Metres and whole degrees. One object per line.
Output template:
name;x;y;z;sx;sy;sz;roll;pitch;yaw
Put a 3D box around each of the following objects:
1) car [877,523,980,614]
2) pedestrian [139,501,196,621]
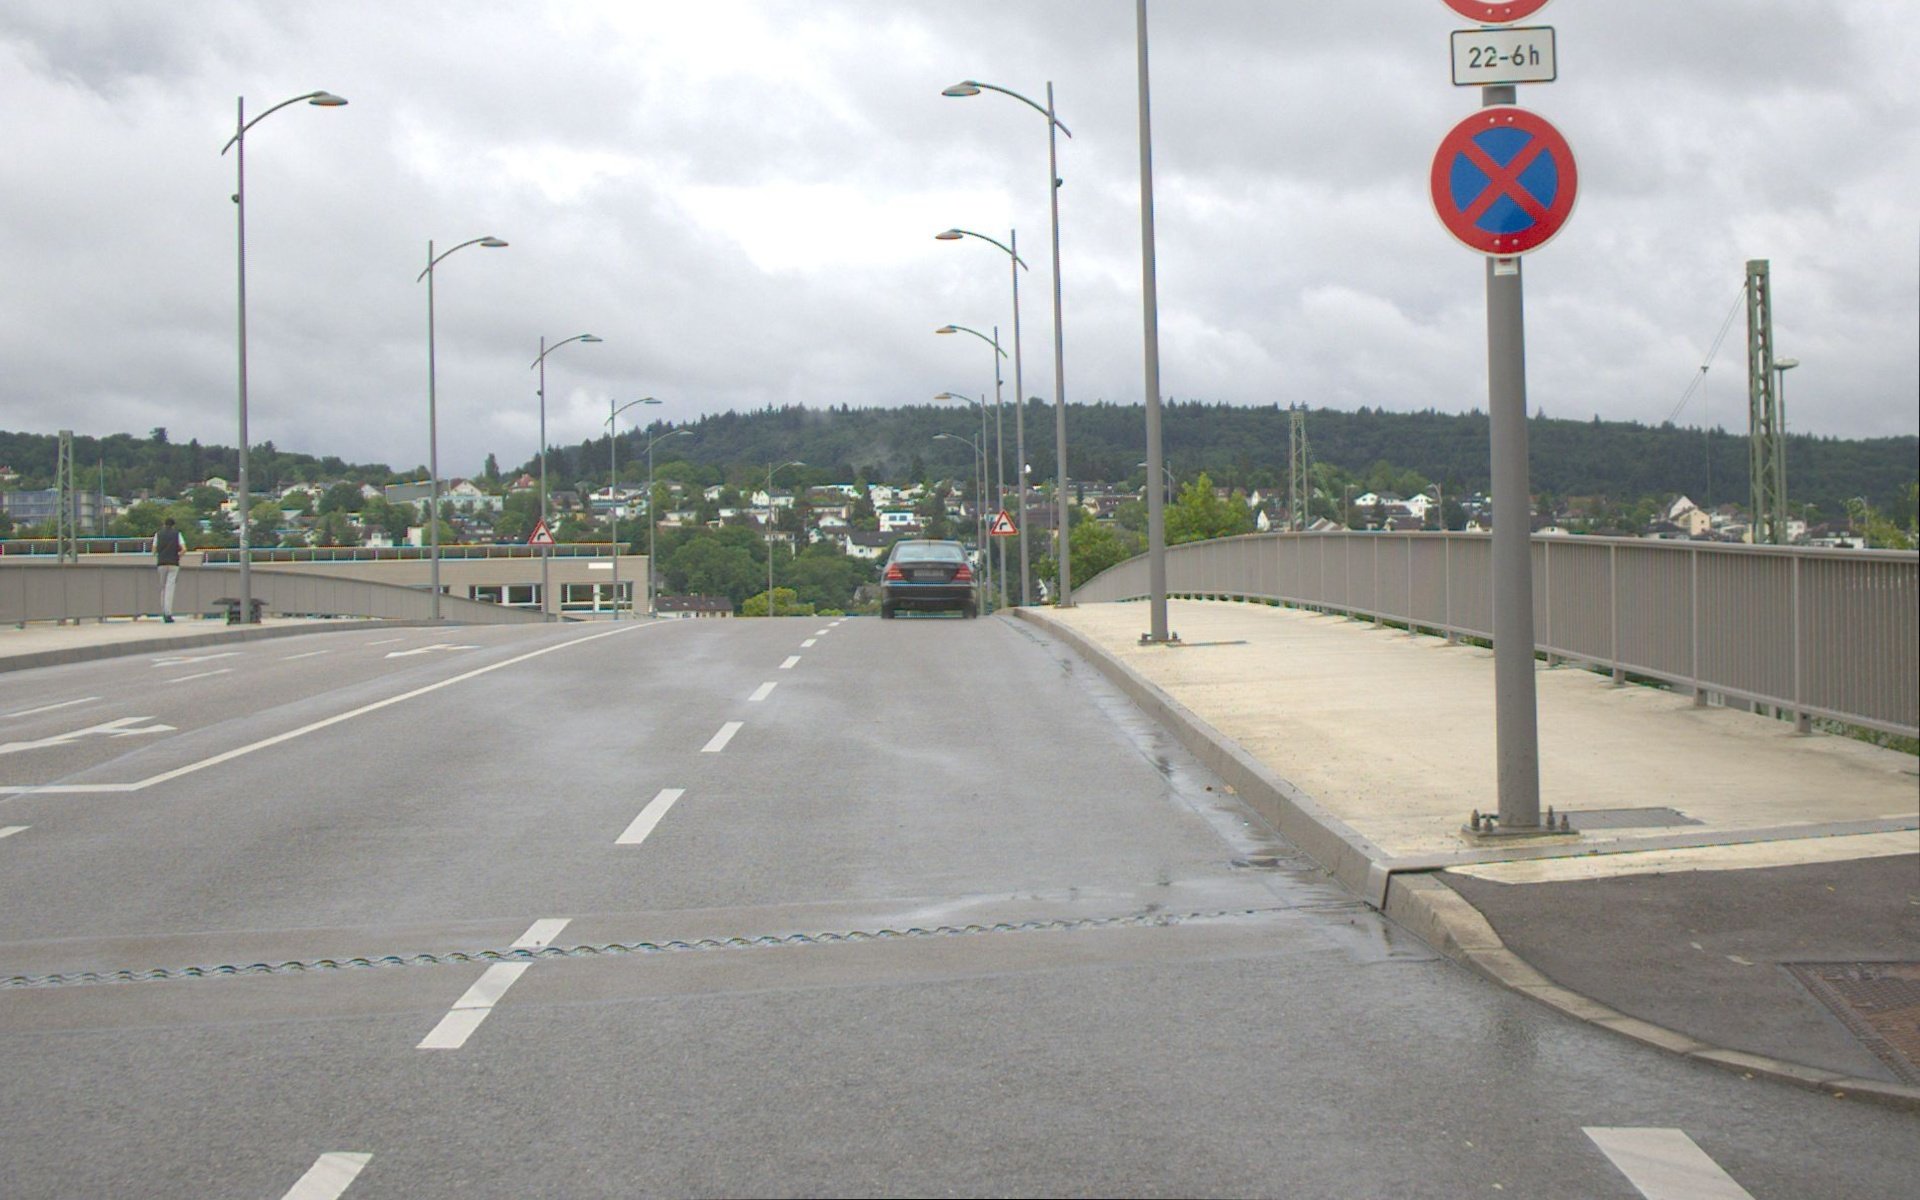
car;-0.559;-0.538;61.211;1.754;1.474;4.000;-1;-1;0
pedestrian;-13.670;-0.664;59.337;0.756;2.041;0.891;-1;-1;-1
